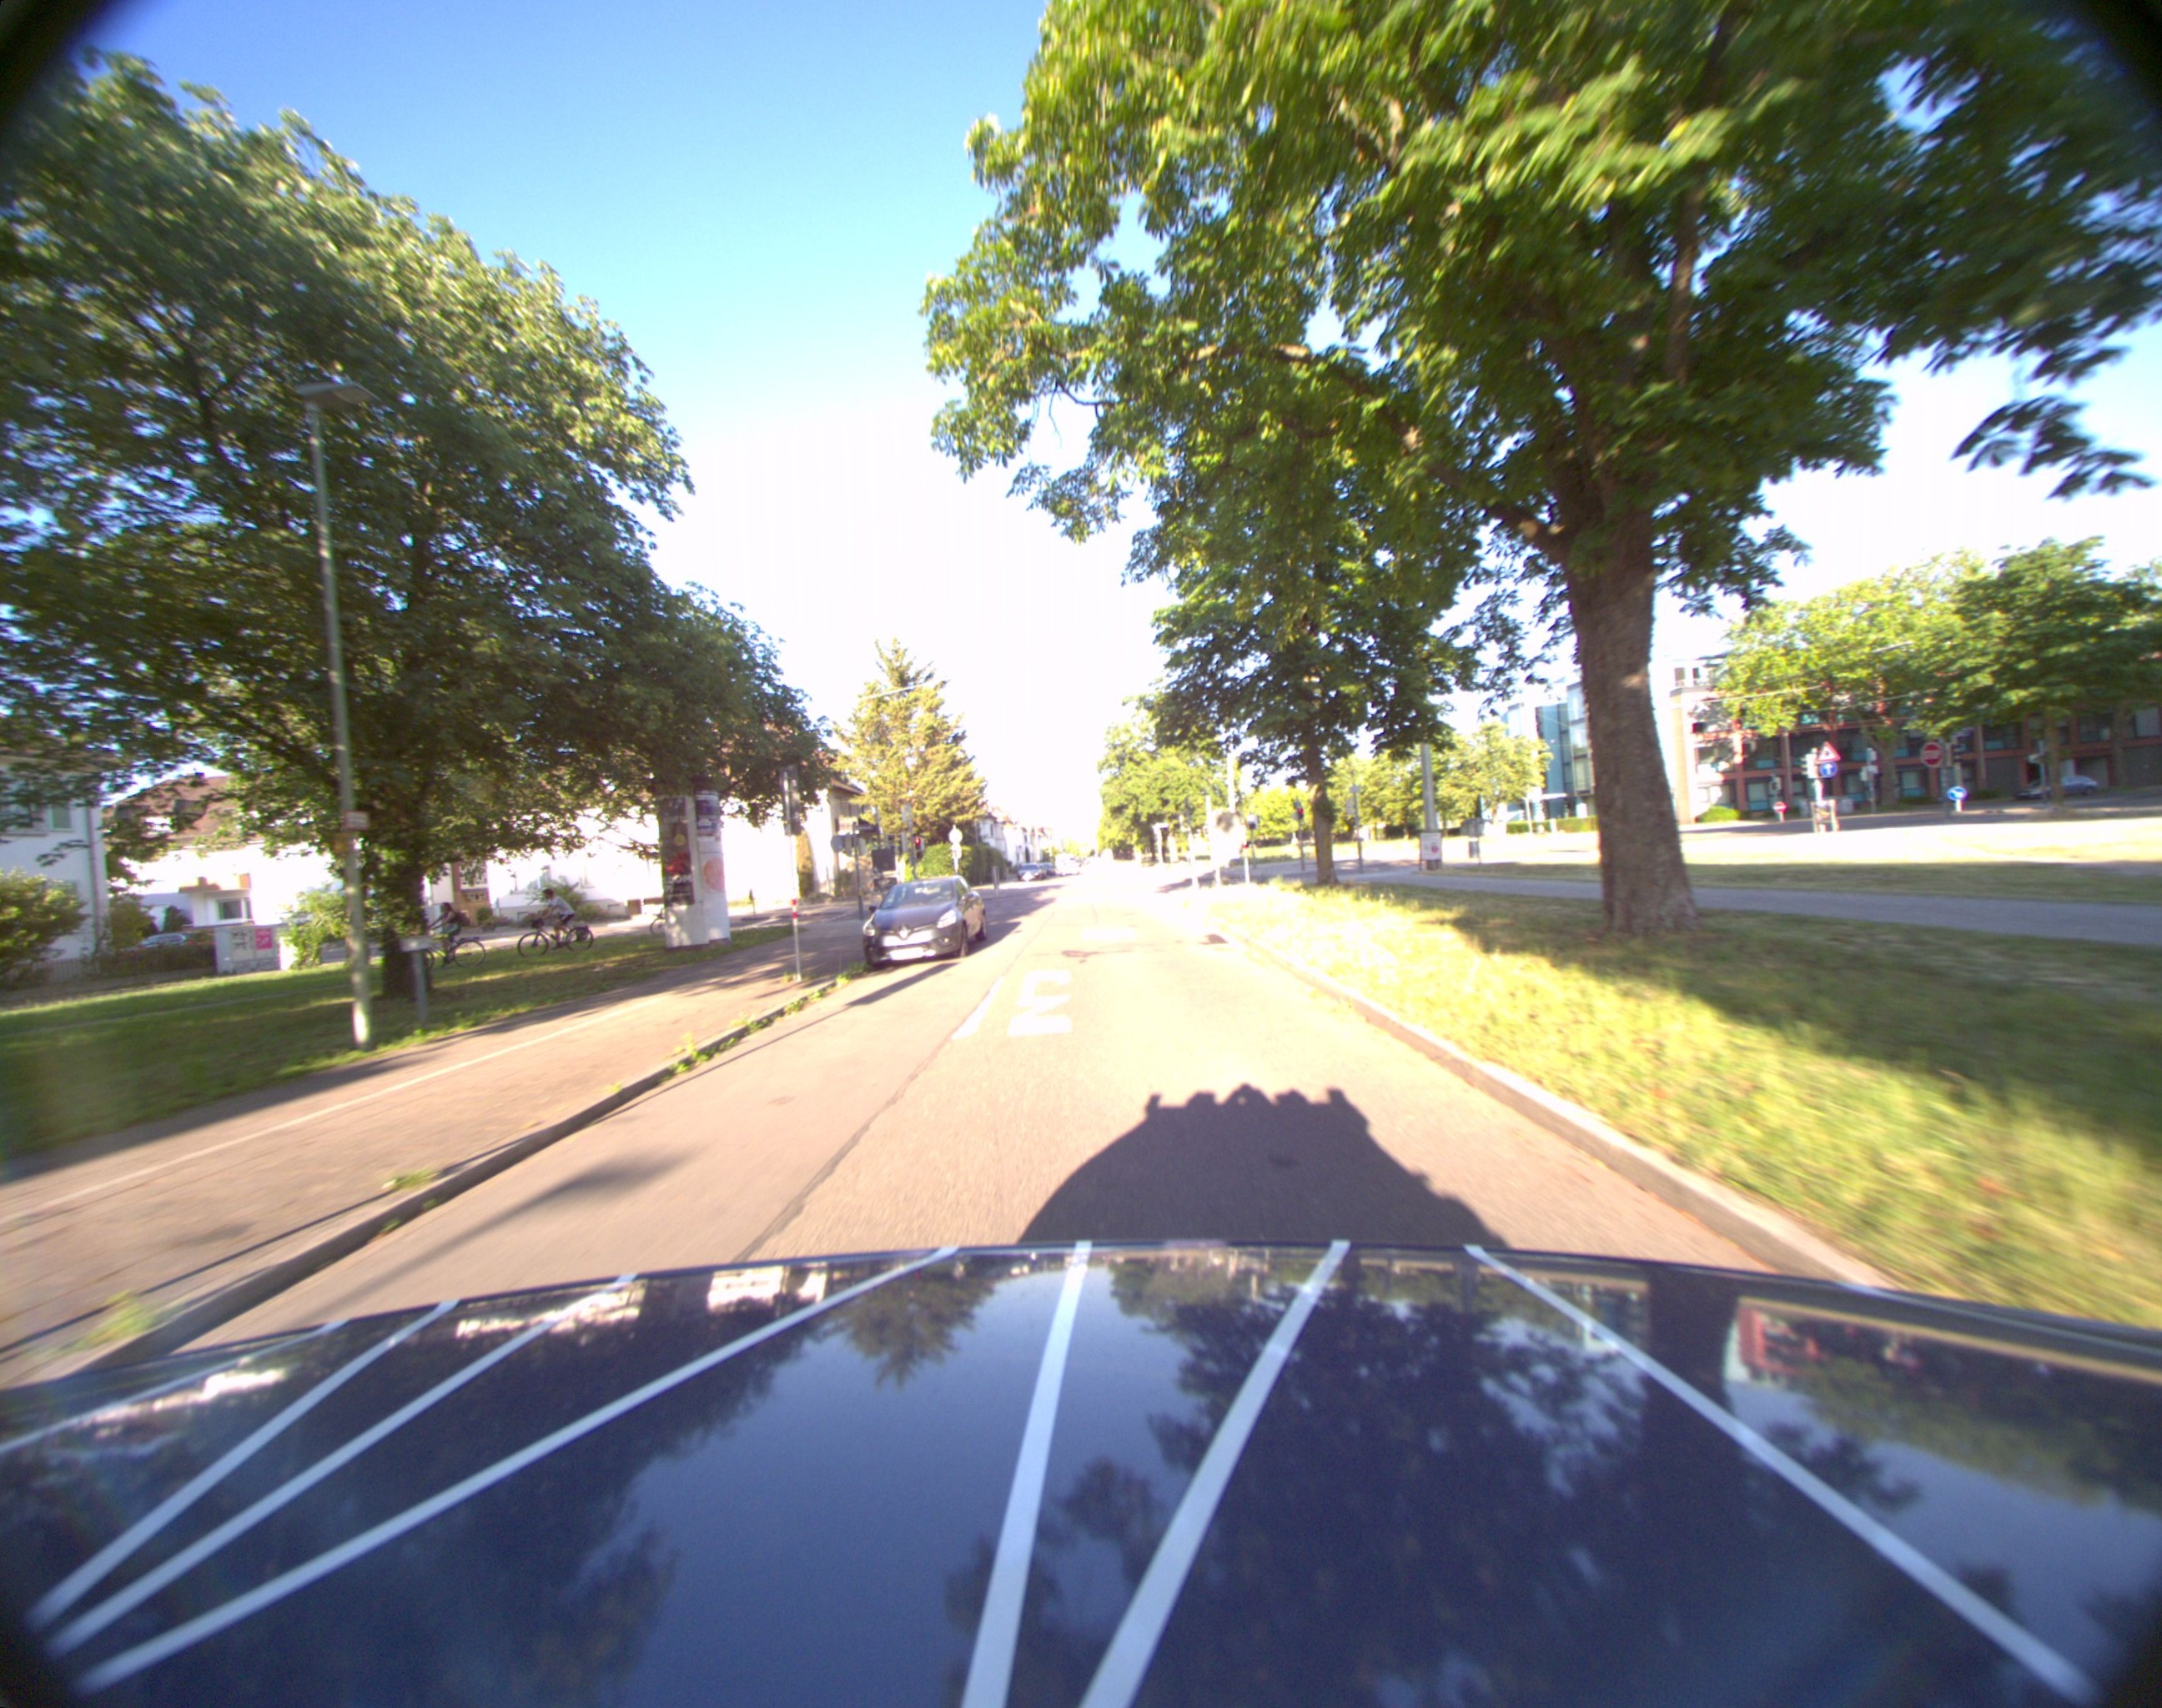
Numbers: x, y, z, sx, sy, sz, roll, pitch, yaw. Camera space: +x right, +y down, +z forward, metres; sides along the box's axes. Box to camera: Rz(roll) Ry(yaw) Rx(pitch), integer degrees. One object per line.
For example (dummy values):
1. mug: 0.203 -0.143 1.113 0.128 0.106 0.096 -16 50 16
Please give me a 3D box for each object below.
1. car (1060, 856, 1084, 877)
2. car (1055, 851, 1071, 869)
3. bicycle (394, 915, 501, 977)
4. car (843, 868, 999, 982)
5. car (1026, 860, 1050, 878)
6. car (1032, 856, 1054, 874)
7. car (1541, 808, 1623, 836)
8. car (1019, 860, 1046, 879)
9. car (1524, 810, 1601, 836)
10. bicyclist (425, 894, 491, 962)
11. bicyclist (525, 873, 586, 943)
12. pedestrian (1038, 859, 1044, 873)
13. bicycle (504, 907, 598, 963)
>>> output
1. car: -0.949 1.212 76.795 1.999 1.775 3.998 -6 1 -4
2. car: -2.836 0.993 120.480 2.132 2.461 5.724 -7 1 1
3. bicycle: -15.762 2.273 18.975 0.492 1.177 1.965 -7 2 18
4. car: -2.842 1.192 14.572 1.730 1.502 4.540 -7 1 2
5. car: -3.992 1.385 70.762 1.784 1.469 4.000 -7 0 1
6. car: -3.991 1.172 80.420 1.796 1.586 4.077 -7 -1 1
7. car: 40.128 -2.556 60.910 5.220 1.662 1.999 -6 1 -1
8. car: -4.128 1.282 65.059 2.009 1.490 4.915 -3 0 -1
9. car: 40.120 -2.585 63.393 5.221 1.662 1.967 -6 2 -3
10. bicyclist: -15.733 1.858 19.197 0.713 1.553 0.894 -5 2 14
11. bicyclist: -14.288 1.461 20.676 0.815 1.722 0.895 -6 2 29
12. pedestrian: -5.601 1.666 105.983 0.587 1.835 0.824 -7 1 3
13. bicycle: -14.288 2.158 20.546 0.573 1.177 1.908 -7 1 29
